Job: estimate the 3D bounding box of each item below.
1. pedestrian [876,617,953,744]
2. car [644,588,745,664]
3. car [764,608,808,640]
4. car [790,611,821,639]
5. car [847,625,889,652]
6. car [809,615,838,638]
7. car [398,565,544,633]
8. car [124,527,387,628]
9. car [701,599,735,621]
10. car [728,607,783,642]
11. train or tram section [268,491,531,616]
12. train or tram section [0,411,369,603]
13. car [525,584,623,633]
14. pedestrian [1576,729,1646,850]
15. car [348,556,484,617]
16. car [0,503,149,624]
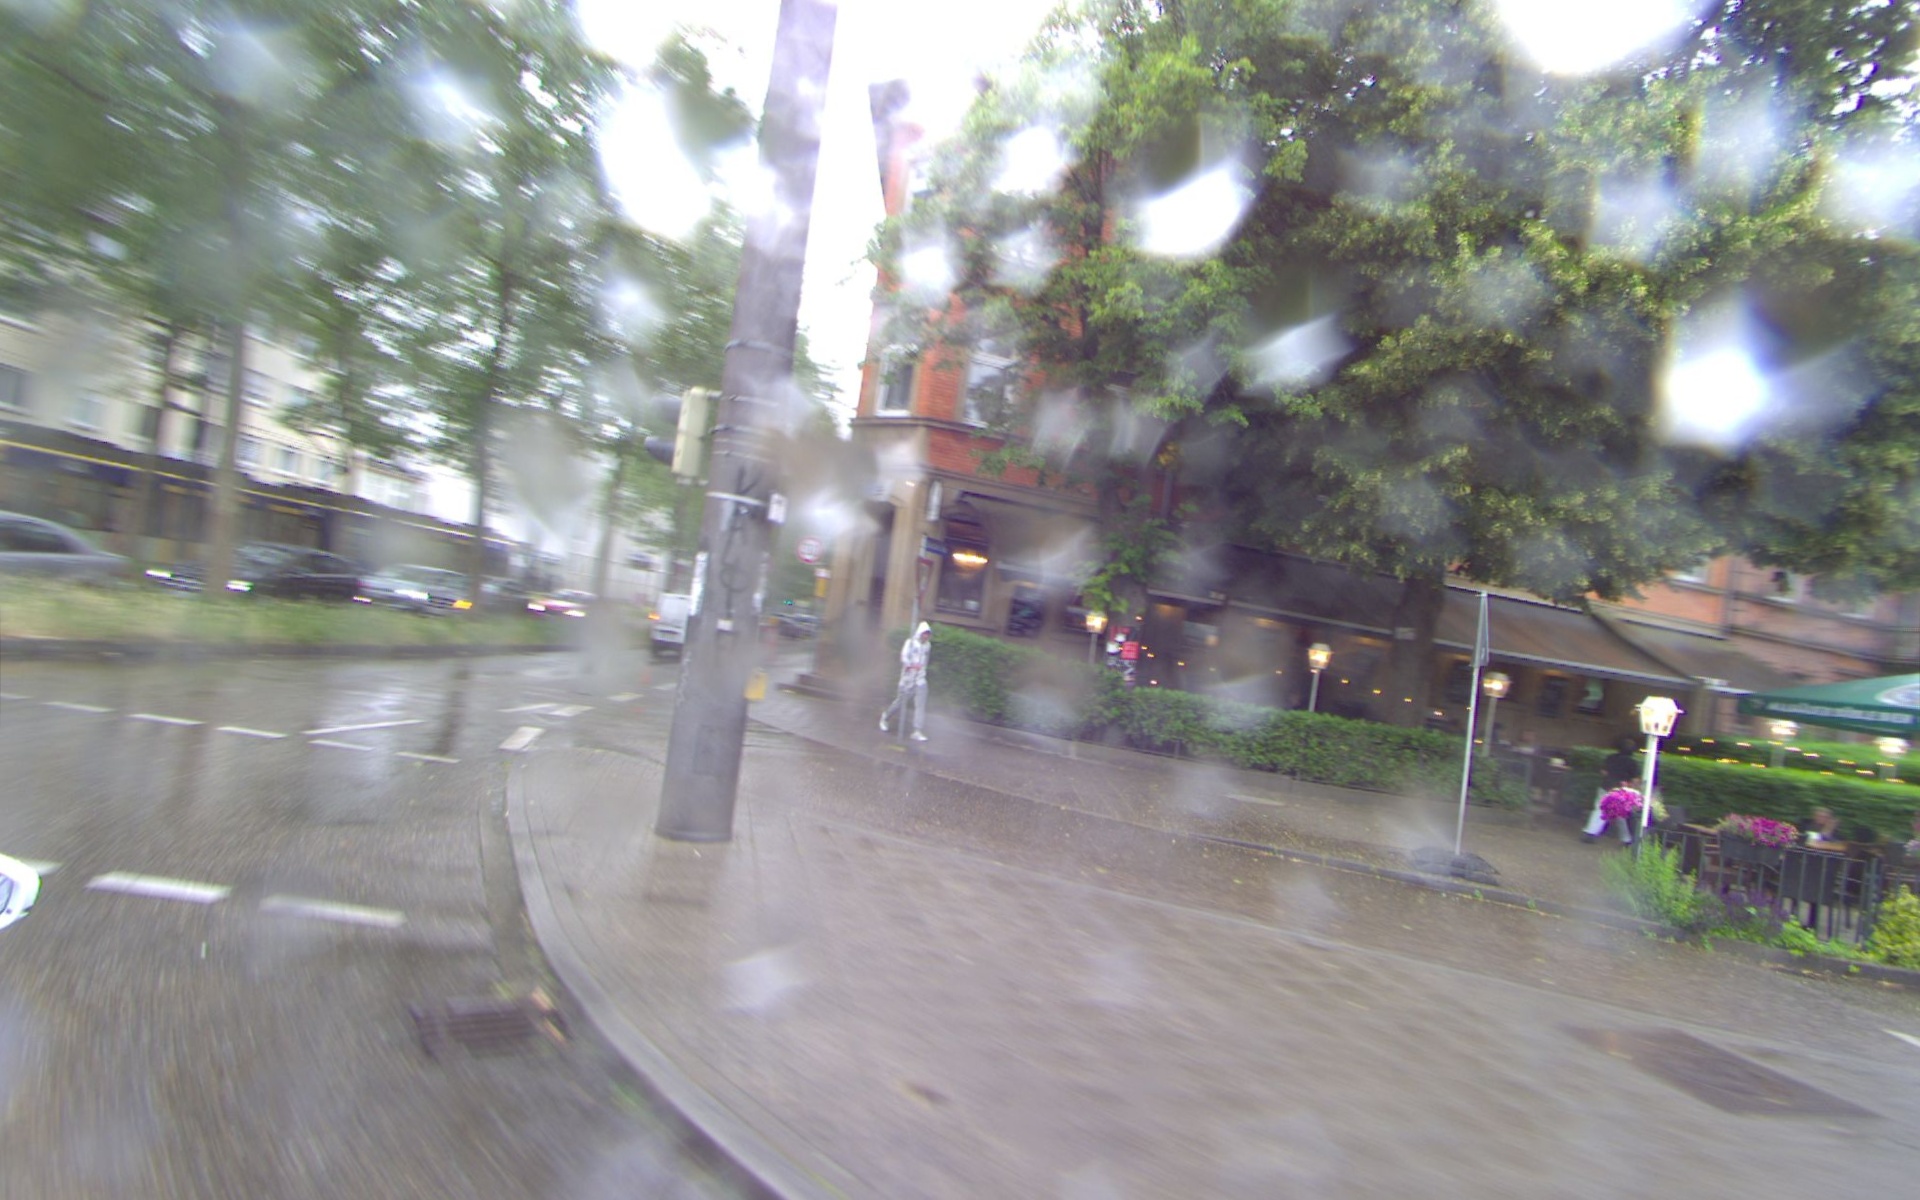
[{"bbox_3d":[-0.725,1.228,15.638,0.560,1.797,1.195,5,2,-29],"label":"pedestrian"},{"bbox_3d":[-7.767,0.822,29.813,1.876,1.816,4.116,8,-3,-3],"label":"car"},{"bbox_3d":[-10.678,1.526,61.846,1.673,1.654,4.358,8,-2,1],"label":"car"},{"bbox_3d":[-11.007,1.783,71.769,1.600,1.701,3.658,9,-1,-3],"label":"car"},{"bbox_3d":[-5.444,2.304,59.919,1.785,1.437,4.701,5,-2,2],"label":"car"},{"bbox_3d":[-10.955,2.128,81.056,1.625,1.517,4.121,10,-2,-1],"label":"car"},{"bbox_3d":[-13.420,0.041,27.957,1.715,1.497,4.434,8,-2,0],"label":"car"},{"bbox_3d":[-13.826,-0.332,20.180,1.829,1.502,4.642,9,-2,0],"label":"car"},{"bbox_3d":[-19.573,0.836,81.629,1.714,1.357,3.757,11,-2,-1],"label":"car"},{"bbox_3d":[-10.686,1.318,52.843,1.802,1.520,4.616,9,-2,-1],"label":"car"},{"bbox_3d":[-23.234,-1.557,43.464,3.060,3.597,14.687,8,-3,-1],"label":"train or tram section"},{"bbox_3d":[-23.021,-2.278,28.896,3.059,3.597,14.592,8,-3,0],"label":"train or tram section"},{"bbox_3d":[-13.703,0.366,35.972,1.715,1.413,4.235,9,-2,0],"label":"car"},{"bbox_3d":[9.658,2.803,14.935,0.383,1.665,0.549,8,1,-13],"label":"pedestrian"},{"bbox_3d":[-16.419,-0.351,30.628,1.715,1.413,4.132,9,-2,0],"label":"car"},{"bbox_3d":[-13.234,-0.592,13.004,1.709,1.506,4.502,9,-2,0],"label":"car"}]
